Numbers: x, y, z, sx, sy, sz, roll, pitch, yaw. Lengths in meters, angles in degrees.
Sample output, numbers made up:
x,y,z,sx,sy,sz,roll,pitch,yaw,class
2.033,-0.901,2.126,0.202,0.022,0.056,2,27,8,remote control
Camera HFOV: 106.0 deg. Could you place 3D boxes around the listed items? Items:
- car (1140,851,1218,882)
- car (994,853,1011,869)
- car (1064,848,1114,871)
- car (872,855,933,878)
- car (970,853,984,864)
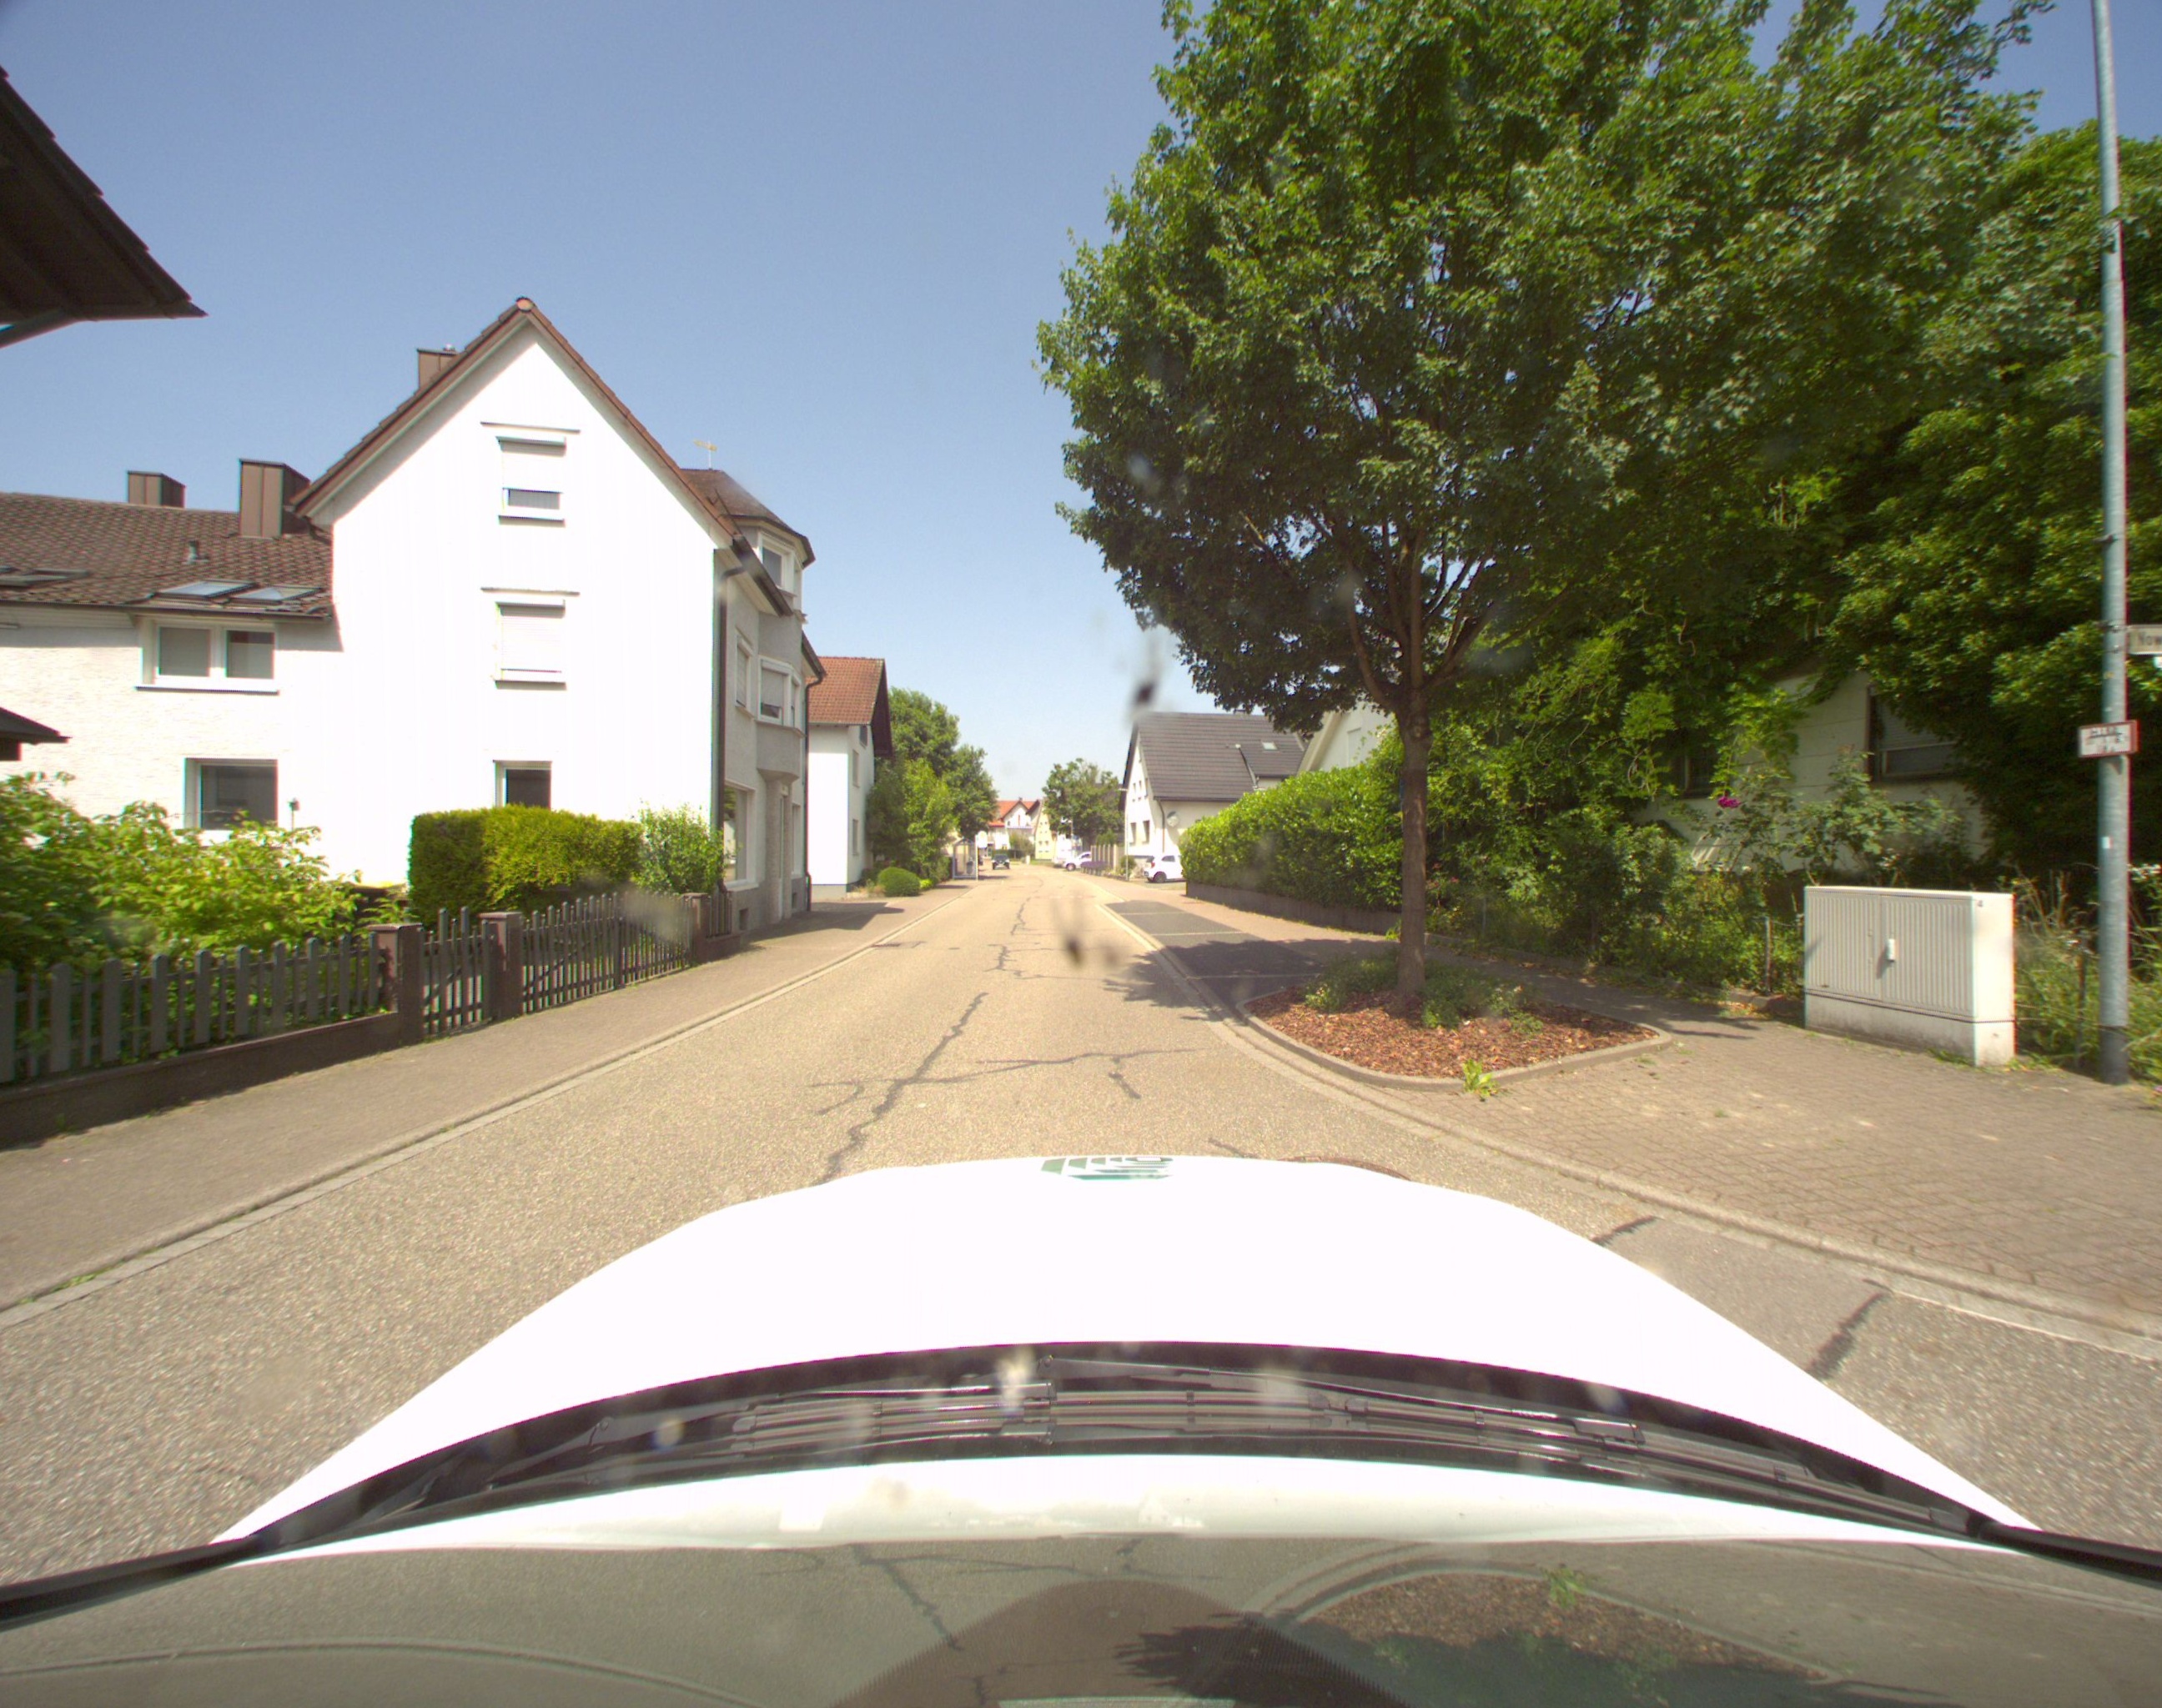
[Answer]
x,y,z,sx,sy,sz,roll,pitch,yaw,class
5.014,0.627,41.848,3.658,1.474,1.759,-1,1,-11,car
-8.346,0.740,86.391,1.774,1.623,4.095,-1,0,-7,car
0.688,0.470,74.106,4.310,1.767,1.888,-3,1,-5,car
-12.999,0.866,59.477,4.158,1.538,1.769,-1,0,-9,car
-13.963,0.552,109.282,1.628,1.486,3.983,-1,0,-12,car
